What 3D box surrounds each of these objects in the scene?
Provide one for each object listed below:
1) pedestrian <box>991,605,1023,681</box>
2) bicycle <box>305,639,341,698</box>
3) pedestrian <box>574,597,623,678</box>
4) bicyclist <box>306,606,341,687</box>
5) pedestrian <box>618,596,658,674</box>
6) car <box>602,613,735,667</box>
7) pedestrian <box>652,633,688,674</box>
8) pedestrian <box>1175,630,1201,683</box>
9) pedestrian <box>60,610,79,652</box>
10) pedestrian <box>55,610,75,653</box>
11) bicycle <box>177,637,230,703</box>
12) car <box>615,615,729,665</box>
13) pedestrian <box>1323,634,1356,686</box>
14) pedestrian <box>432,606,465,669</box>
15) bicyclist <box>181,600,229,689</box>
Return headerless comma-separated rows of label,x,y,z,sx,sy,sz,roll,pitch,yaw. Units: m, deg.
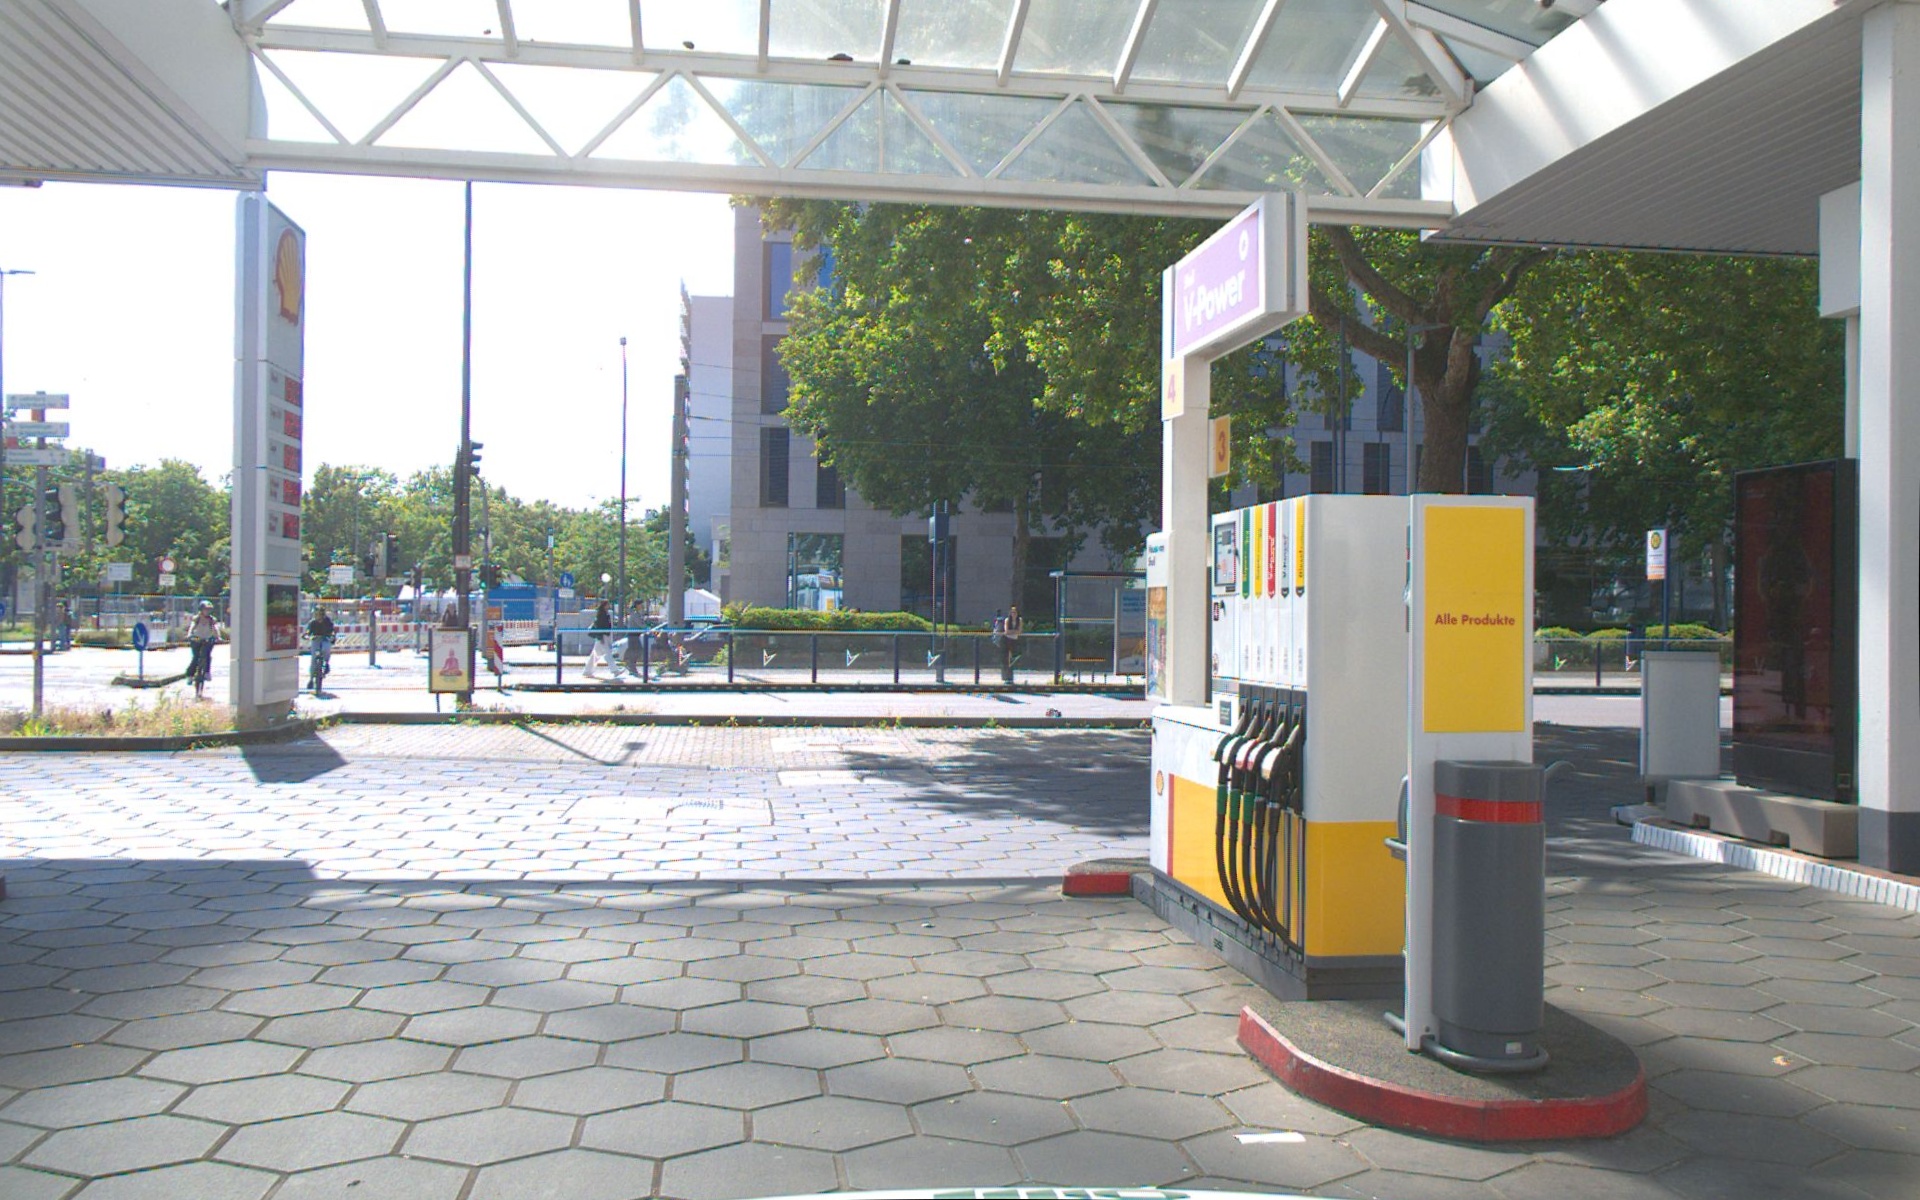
pedestrian,1.017,0.924,36.049,0.573,1.619,0.669,1,1,-9
bicycle,-12.547,1.327,32.601,0.515,1.101,1.858,1,-1,-17
pedestrian,-7.773,0.800,35.592,0.913,1.712,0.503,1,-1,1
bicyclist,-12.564,0.912,32.663,0.524,1.571,0.862,1,-1,-16
pedestrian,-7.115,0.768,36.533,0.760,1.712,0.503,1,-1,1
car,-8.960,1.225,50.695,3.919,1.579,1.697,1,-1,-14
pedestrian,-6.402,1.176,36.515,0.676,0.896,0.503,1,-1,0
pedestrian,5.073,1.246,36.804,0.489,1.158,0.524,1,-1,-2
pedestrian,-32.162,1.111,59.731,0.558,1.495,0.508,1,-1,-33
pedestrian,-31.845,1.117,58.858,0.558,1.495,0.508,1,-1,-33
bicycle,-14.083,1.281,30.833,0.628,1.101,2.017,1,1,-17
car,-9.464,1.306,54.278,3.619,1.579,1.586,1,-1,-14
pedestrian,8.579,1.358,37.402,0.615,1.158,0.524,1,-1,-2
pedestrian,-12.783,0.929,41.364,0.637,1.567,0.503,1,-1,1
bicyclist,-14.043,0.811,30.771,0.627,1.608,1.168,1,0,-17
